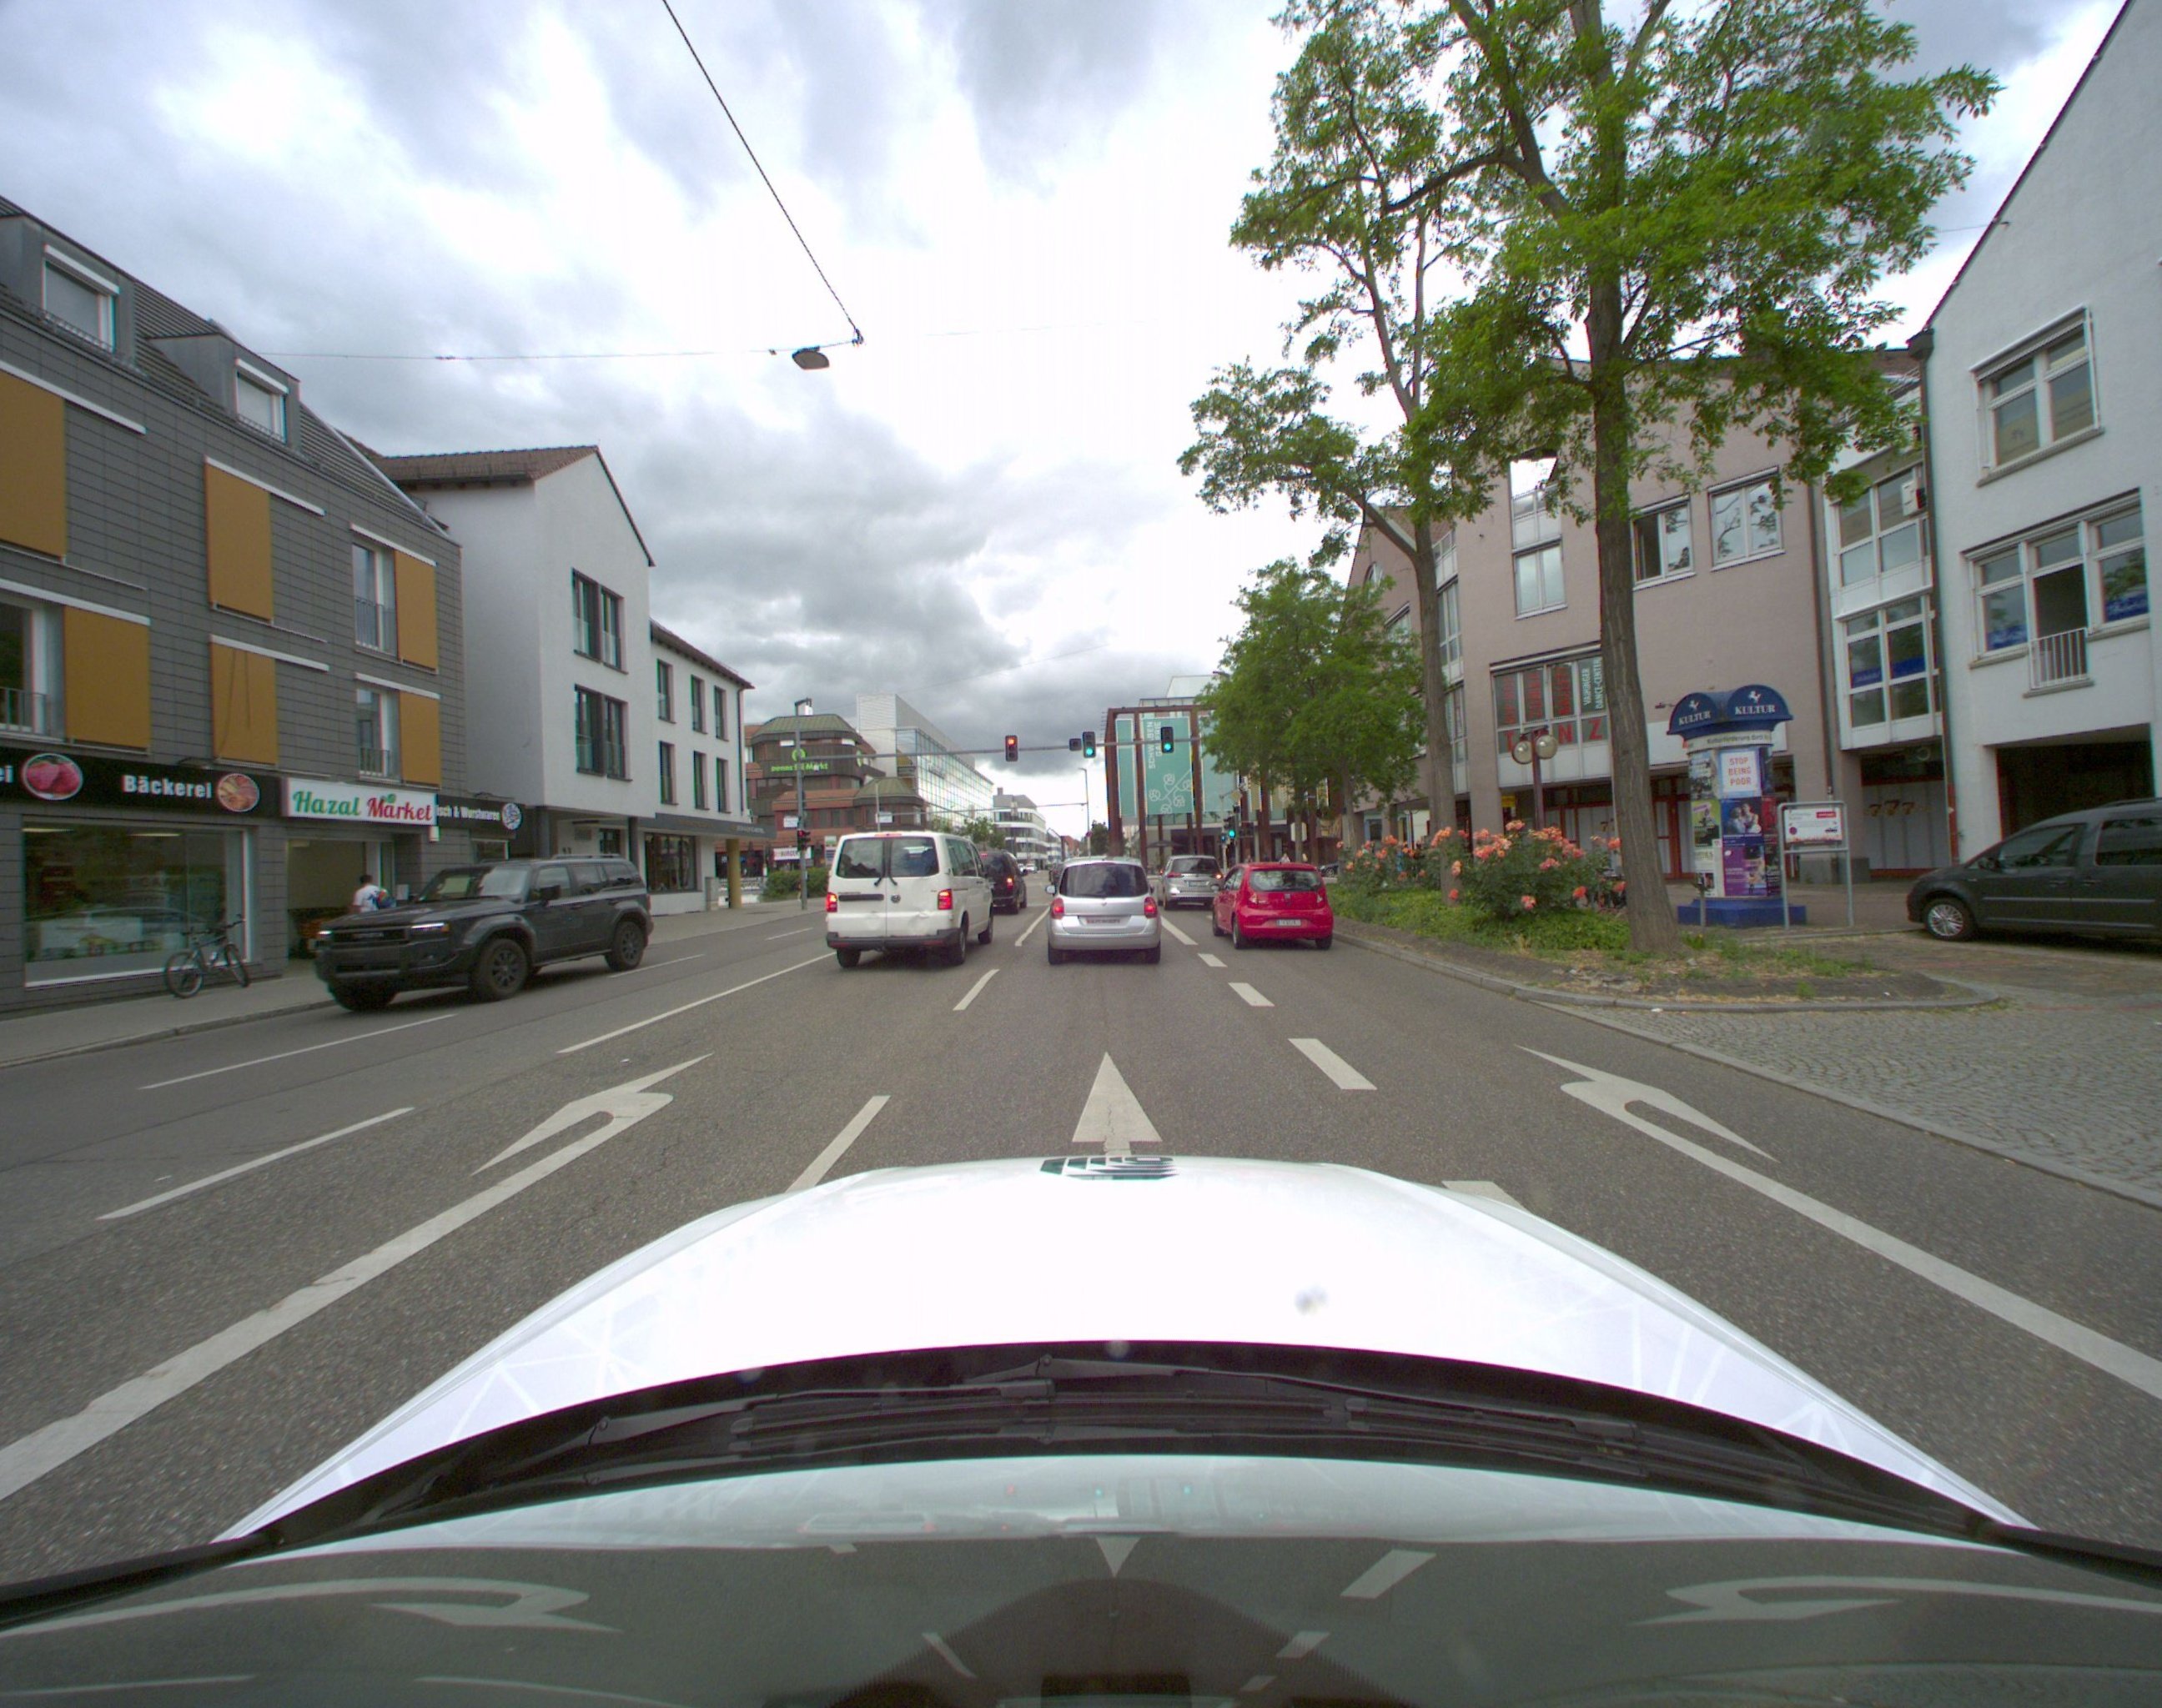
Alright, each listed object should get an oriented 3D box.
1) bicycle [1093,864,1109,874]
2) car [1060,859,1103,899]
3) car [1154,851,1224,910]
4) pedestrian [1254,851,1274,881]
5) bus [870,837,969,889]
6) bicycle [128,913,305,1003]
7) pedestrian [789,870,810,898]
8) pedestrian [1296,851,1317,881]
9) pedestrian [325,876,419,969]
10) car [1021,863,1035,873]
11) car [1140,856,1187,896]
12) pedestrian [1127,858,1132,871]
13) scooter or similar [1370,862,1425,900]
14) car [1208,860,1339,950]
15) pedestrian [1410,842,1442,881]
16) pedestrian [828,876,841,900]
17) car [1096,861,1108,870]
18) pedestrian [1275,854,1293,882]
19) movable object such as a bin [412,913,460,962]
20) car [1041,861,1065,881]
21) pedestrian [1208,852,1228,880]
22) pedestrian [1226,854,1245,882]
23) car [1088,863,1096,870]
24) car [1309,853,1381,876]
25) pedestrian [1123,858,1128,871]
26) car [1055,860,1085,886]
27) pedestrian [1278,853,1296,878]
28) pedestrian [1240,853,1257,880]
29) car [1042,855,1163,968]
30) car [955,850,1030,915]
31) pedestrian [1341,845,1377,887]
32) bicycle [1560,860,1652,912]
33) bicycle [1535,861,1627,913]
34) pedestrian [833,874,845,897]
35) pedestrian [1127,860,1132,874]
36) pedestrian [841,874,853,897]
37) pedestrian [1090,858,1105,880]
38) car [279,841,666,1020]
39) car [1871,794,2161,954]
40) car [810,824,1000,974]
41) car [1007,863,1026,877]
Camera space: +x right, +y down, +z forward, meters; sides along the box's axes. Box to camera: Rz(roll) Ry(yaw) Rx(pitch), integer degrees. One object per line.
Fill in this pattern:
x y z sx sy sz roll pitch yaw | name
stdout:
2.071 1.544 85.223 1.553 0.992 0.753 -3 -1 4 | bicycle
0.046 0.990 33.625 1.664 1.554 3.643 0 -1 1 | car
3.346 0.790 25.915 1.733 1.701 4.382 0 -1 1 | car
11.165 0.709 49.728 0.876 1.767 1.119 -2 -1 -2 | pedestrian
-11.886 0.599 61.770 2.970 3.327 12.338 -5 0 9 | bus
-12.863 1.506 12.215 0.569 1.101 1.903 -2 0 2 | bicycle
-18.693 1.993 54.069 0.944 1.755 0.945 -2 -1 2 | pedestrian
14.069 0.740 50.778 0.876 1.767 1.119 -2 -1 -2 | pedestrian
-13.332 1.256 15.346 0.884 1.643 0.971 -2 -1 1 | pedestrian
-8.159 2.161 124.815 1.654 1.465 4.001 -3 -1 1 | car
3.655 0.951 36.589 1.733 1.701 4.381 0 -1 1 | car
5.913 1.300 99.410 0.425 1.549 0.481 -2 -1 -1 | pedestrian
9.611 0.812 24.836 0.471 1.087 1.877 -3 -1 -16 | scooter or similar
3.389 0.844 14.982 1.620 1.448 3.643 0 -1 1 | car
14.458 0.297 34.167 0.827 1.584 1.059 -2 -1 0 | pedestrian
-17.270 2.371 57.064 0.636 1.588 0.526 -2 -1 2 | pedestrian
3.351 1.856 129.502 1.870 1.335 4.001 0 0 2 | car
12.185 0.843 48.801 0.739 1.626 0.953 -3 -1 -2 | pedestrian
-12.907 1.664 16.303 0.549 0.899 0.506 -2 -1 -1 | movable object such as a bin
-2.146 1.272 63.254 1.664 1.495 3.643 0 -1 1 | car
8.300 0.728 49.387 0.876 1.681 1.119 -2 -1 -2 | pedestrian
9.375 0.853 49.462 0.876 1.681 1.119 -2 -1 -2 | pedestrian
2.366 2.718 174.141 1.654 1.465 4.001 -3 -1 1 | car
17.494 0.693 54.139 4.161 1.404 1.799 -1 -1 -2 | car
5.429 1.304 99.449 0.425 1.549 0.481 -2 -1 -1 | pedestrian
-0.639 1.143 49.769 1.664 1.495 3.643 0 -1 1 | car
13.125 0.724 51.808 0.819 1.595 1.039 -2 -1 -1 | pedestrian
10.284 0.749 49.994 0.739 1.626 0.953 -3 -1 -2 | pedestrian
0.336 0.810 13.140 1.664 1.554 3.643 0 -1 1 | car
-2.612 0.816 25.094 1.701 1.821 4.572 0 -1 1 | car
11.609 0.502 34.023 1.052 1.715 1.110 -2 -1 0 | pedestrian
11.131 0.678 17.298 1.549 1.048 0.409 -3 -1 43 | bicycle
10.477 0.694 17.085 1.549 1.048 0.409 -3 -1 43 | bicycle
-17.420 2.261 58.527 0.636 1.588 0.526 -2 -1 2 | pedestrian
4.285 1.141 71.734 0.445 1.220 0.607 -2 -1 4 | pedestrian
-16.720 2.247 58.206 0.636 1.588 0.657 -2 -1 2 | pedestrian
1.315 1.192 63.779 0.861 1.646 0.685 -2 -1 35 | pedestrian
-8.321 0.910 11.894 1.917 1.969 4.769 -4 -1 1 | car
12.986 0.195 10.292 1.729 1.804 4.259 -3 -1 -1 | car
-2.635 0.629 13.509 1.986 2.014 4.841 -1 -1 1 | car
-7.569 1.873 95.608 1.738 1.459 4.235 -3 0 1 | car
